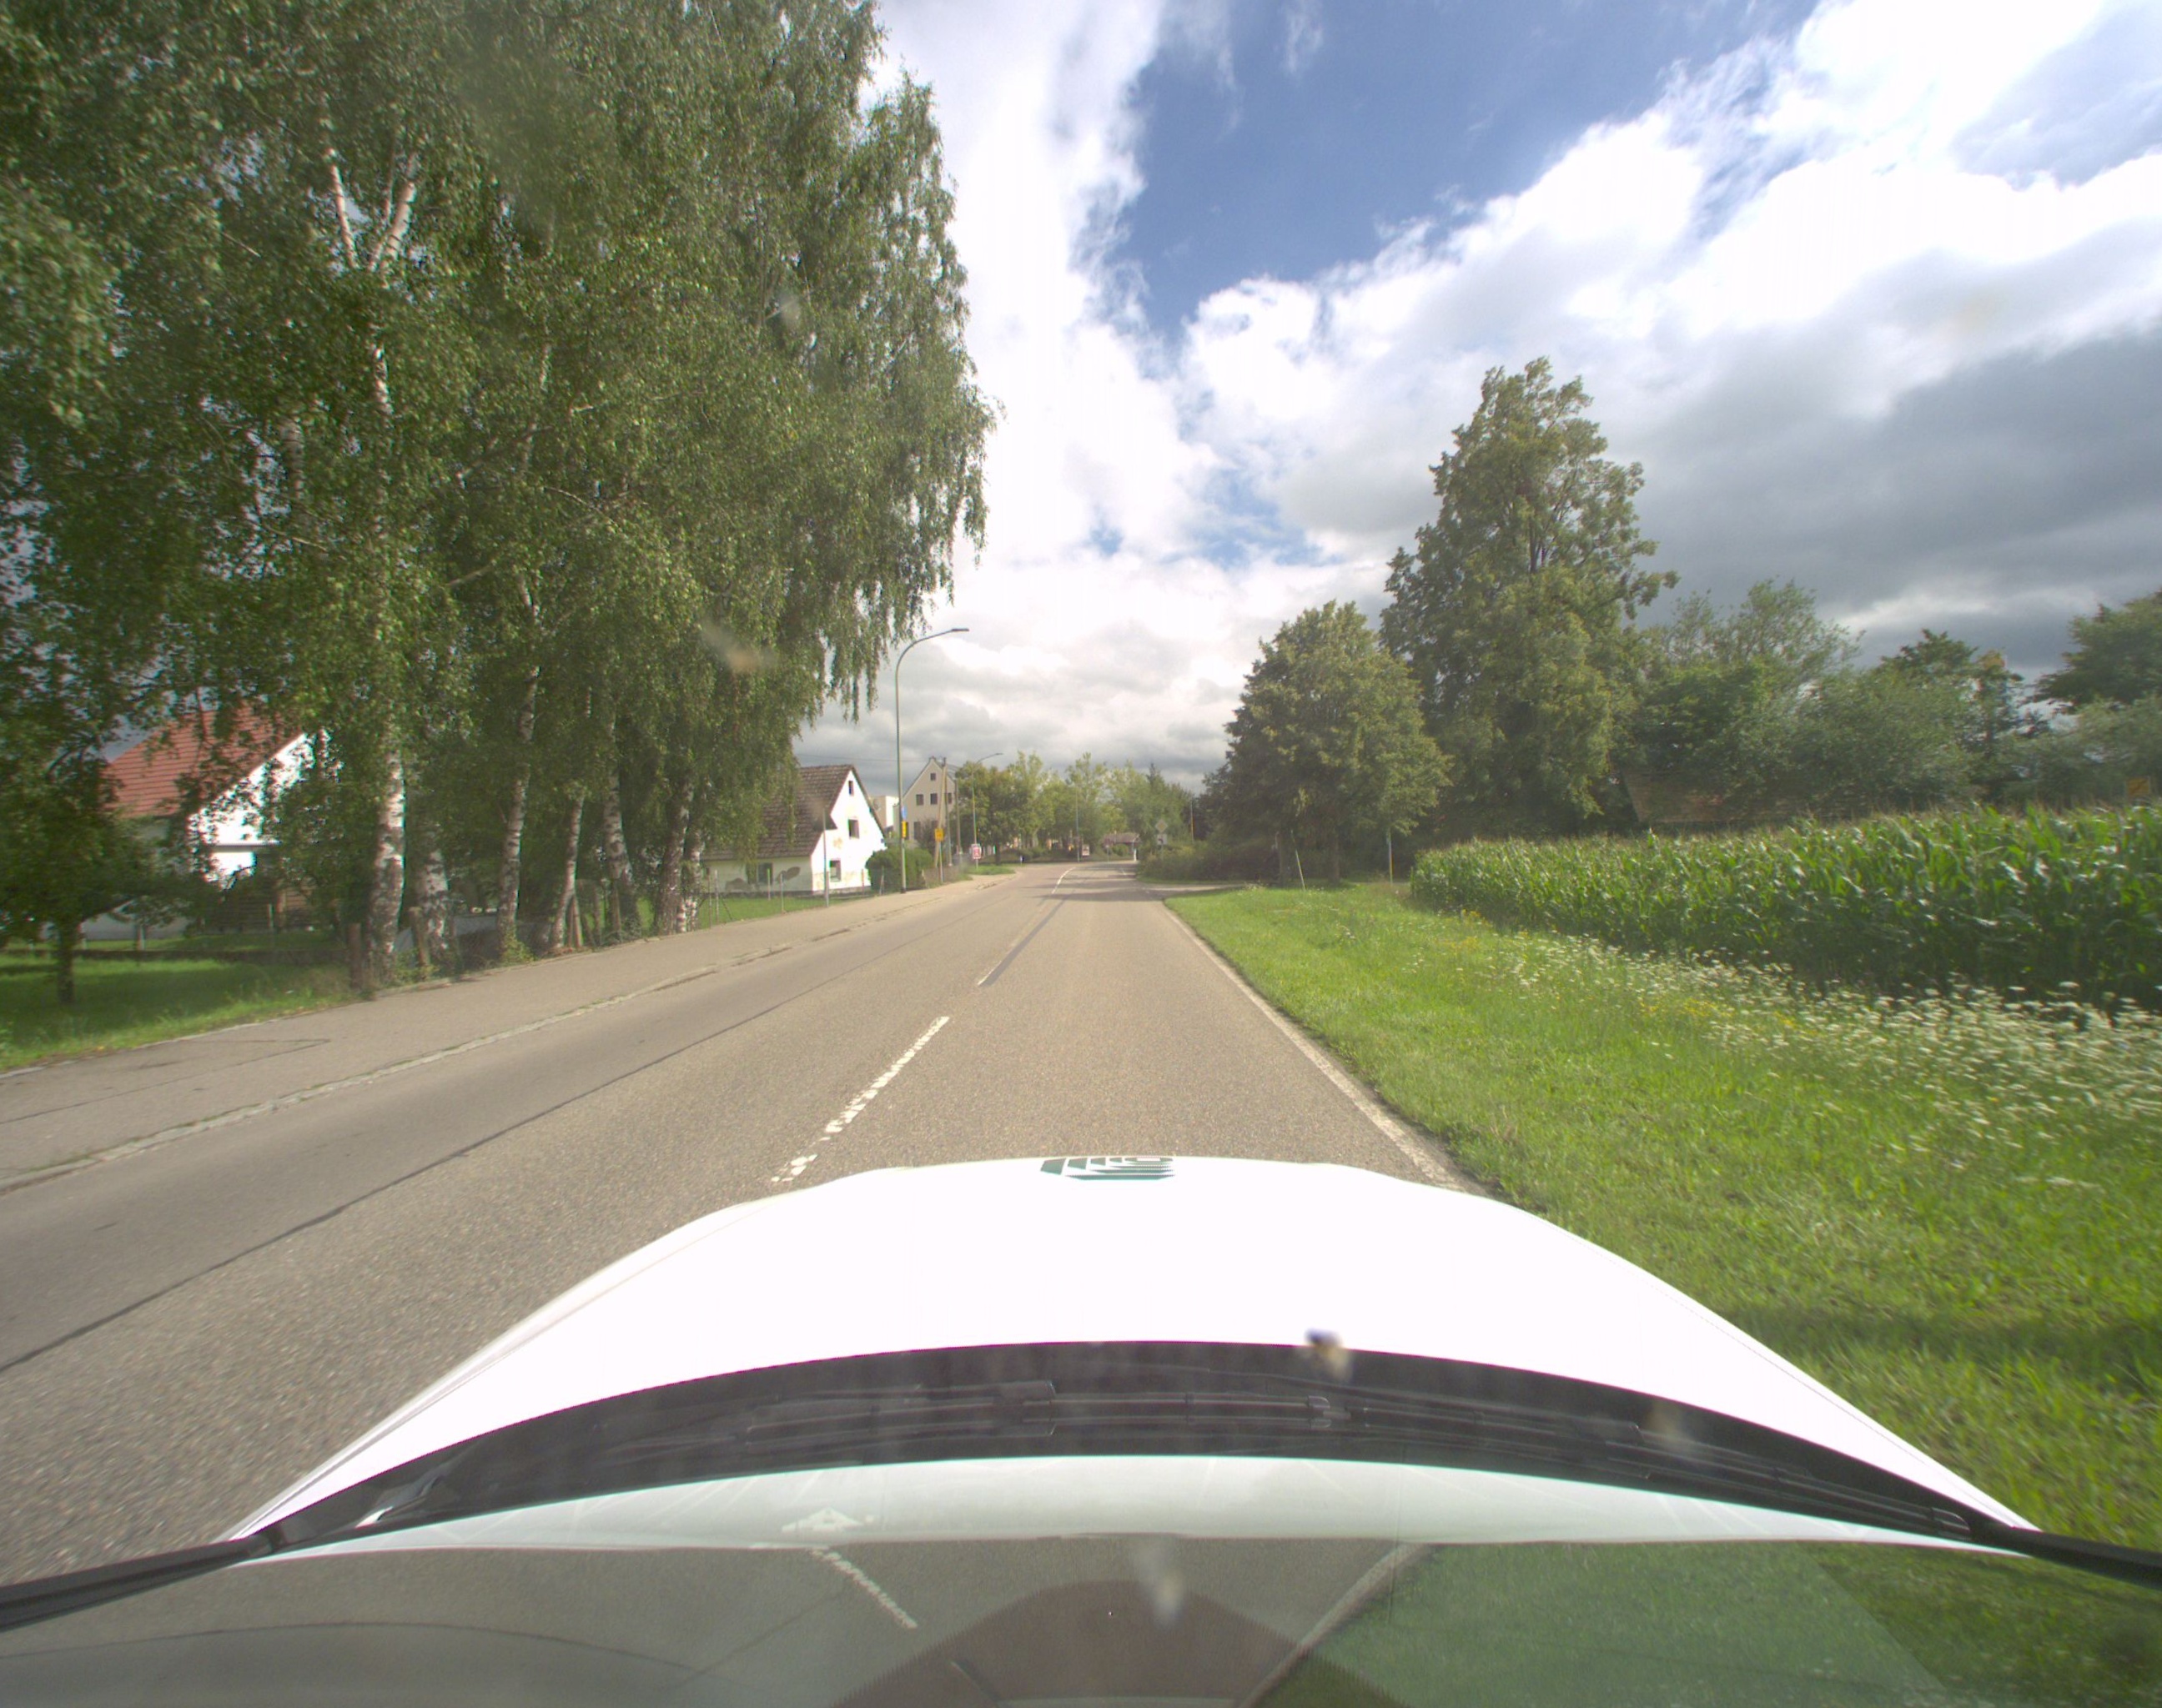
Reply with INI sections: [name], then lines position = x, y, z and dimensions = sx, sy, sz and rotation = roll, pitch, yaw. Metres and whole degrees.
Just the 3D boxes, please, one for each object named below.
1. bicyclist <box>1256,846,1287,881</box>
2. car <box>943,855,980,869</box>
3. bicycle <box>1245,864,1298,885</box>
[bicyclist]
position = 8.655, 0.417, 37.001
dimensions = 1.018, 1.585, 1.049
rotation = 0, 0, -13
[car]
position = -14.246, 0.954, 96.980
dimensions = 3.966, 1.585, 2.004
rotation = -1, 1, 6
[bicycle]
position = 8.646, 0.933, 37.002
dimensions = 2.118, 0.864, 1.049
rotation = -1, 0, -13
